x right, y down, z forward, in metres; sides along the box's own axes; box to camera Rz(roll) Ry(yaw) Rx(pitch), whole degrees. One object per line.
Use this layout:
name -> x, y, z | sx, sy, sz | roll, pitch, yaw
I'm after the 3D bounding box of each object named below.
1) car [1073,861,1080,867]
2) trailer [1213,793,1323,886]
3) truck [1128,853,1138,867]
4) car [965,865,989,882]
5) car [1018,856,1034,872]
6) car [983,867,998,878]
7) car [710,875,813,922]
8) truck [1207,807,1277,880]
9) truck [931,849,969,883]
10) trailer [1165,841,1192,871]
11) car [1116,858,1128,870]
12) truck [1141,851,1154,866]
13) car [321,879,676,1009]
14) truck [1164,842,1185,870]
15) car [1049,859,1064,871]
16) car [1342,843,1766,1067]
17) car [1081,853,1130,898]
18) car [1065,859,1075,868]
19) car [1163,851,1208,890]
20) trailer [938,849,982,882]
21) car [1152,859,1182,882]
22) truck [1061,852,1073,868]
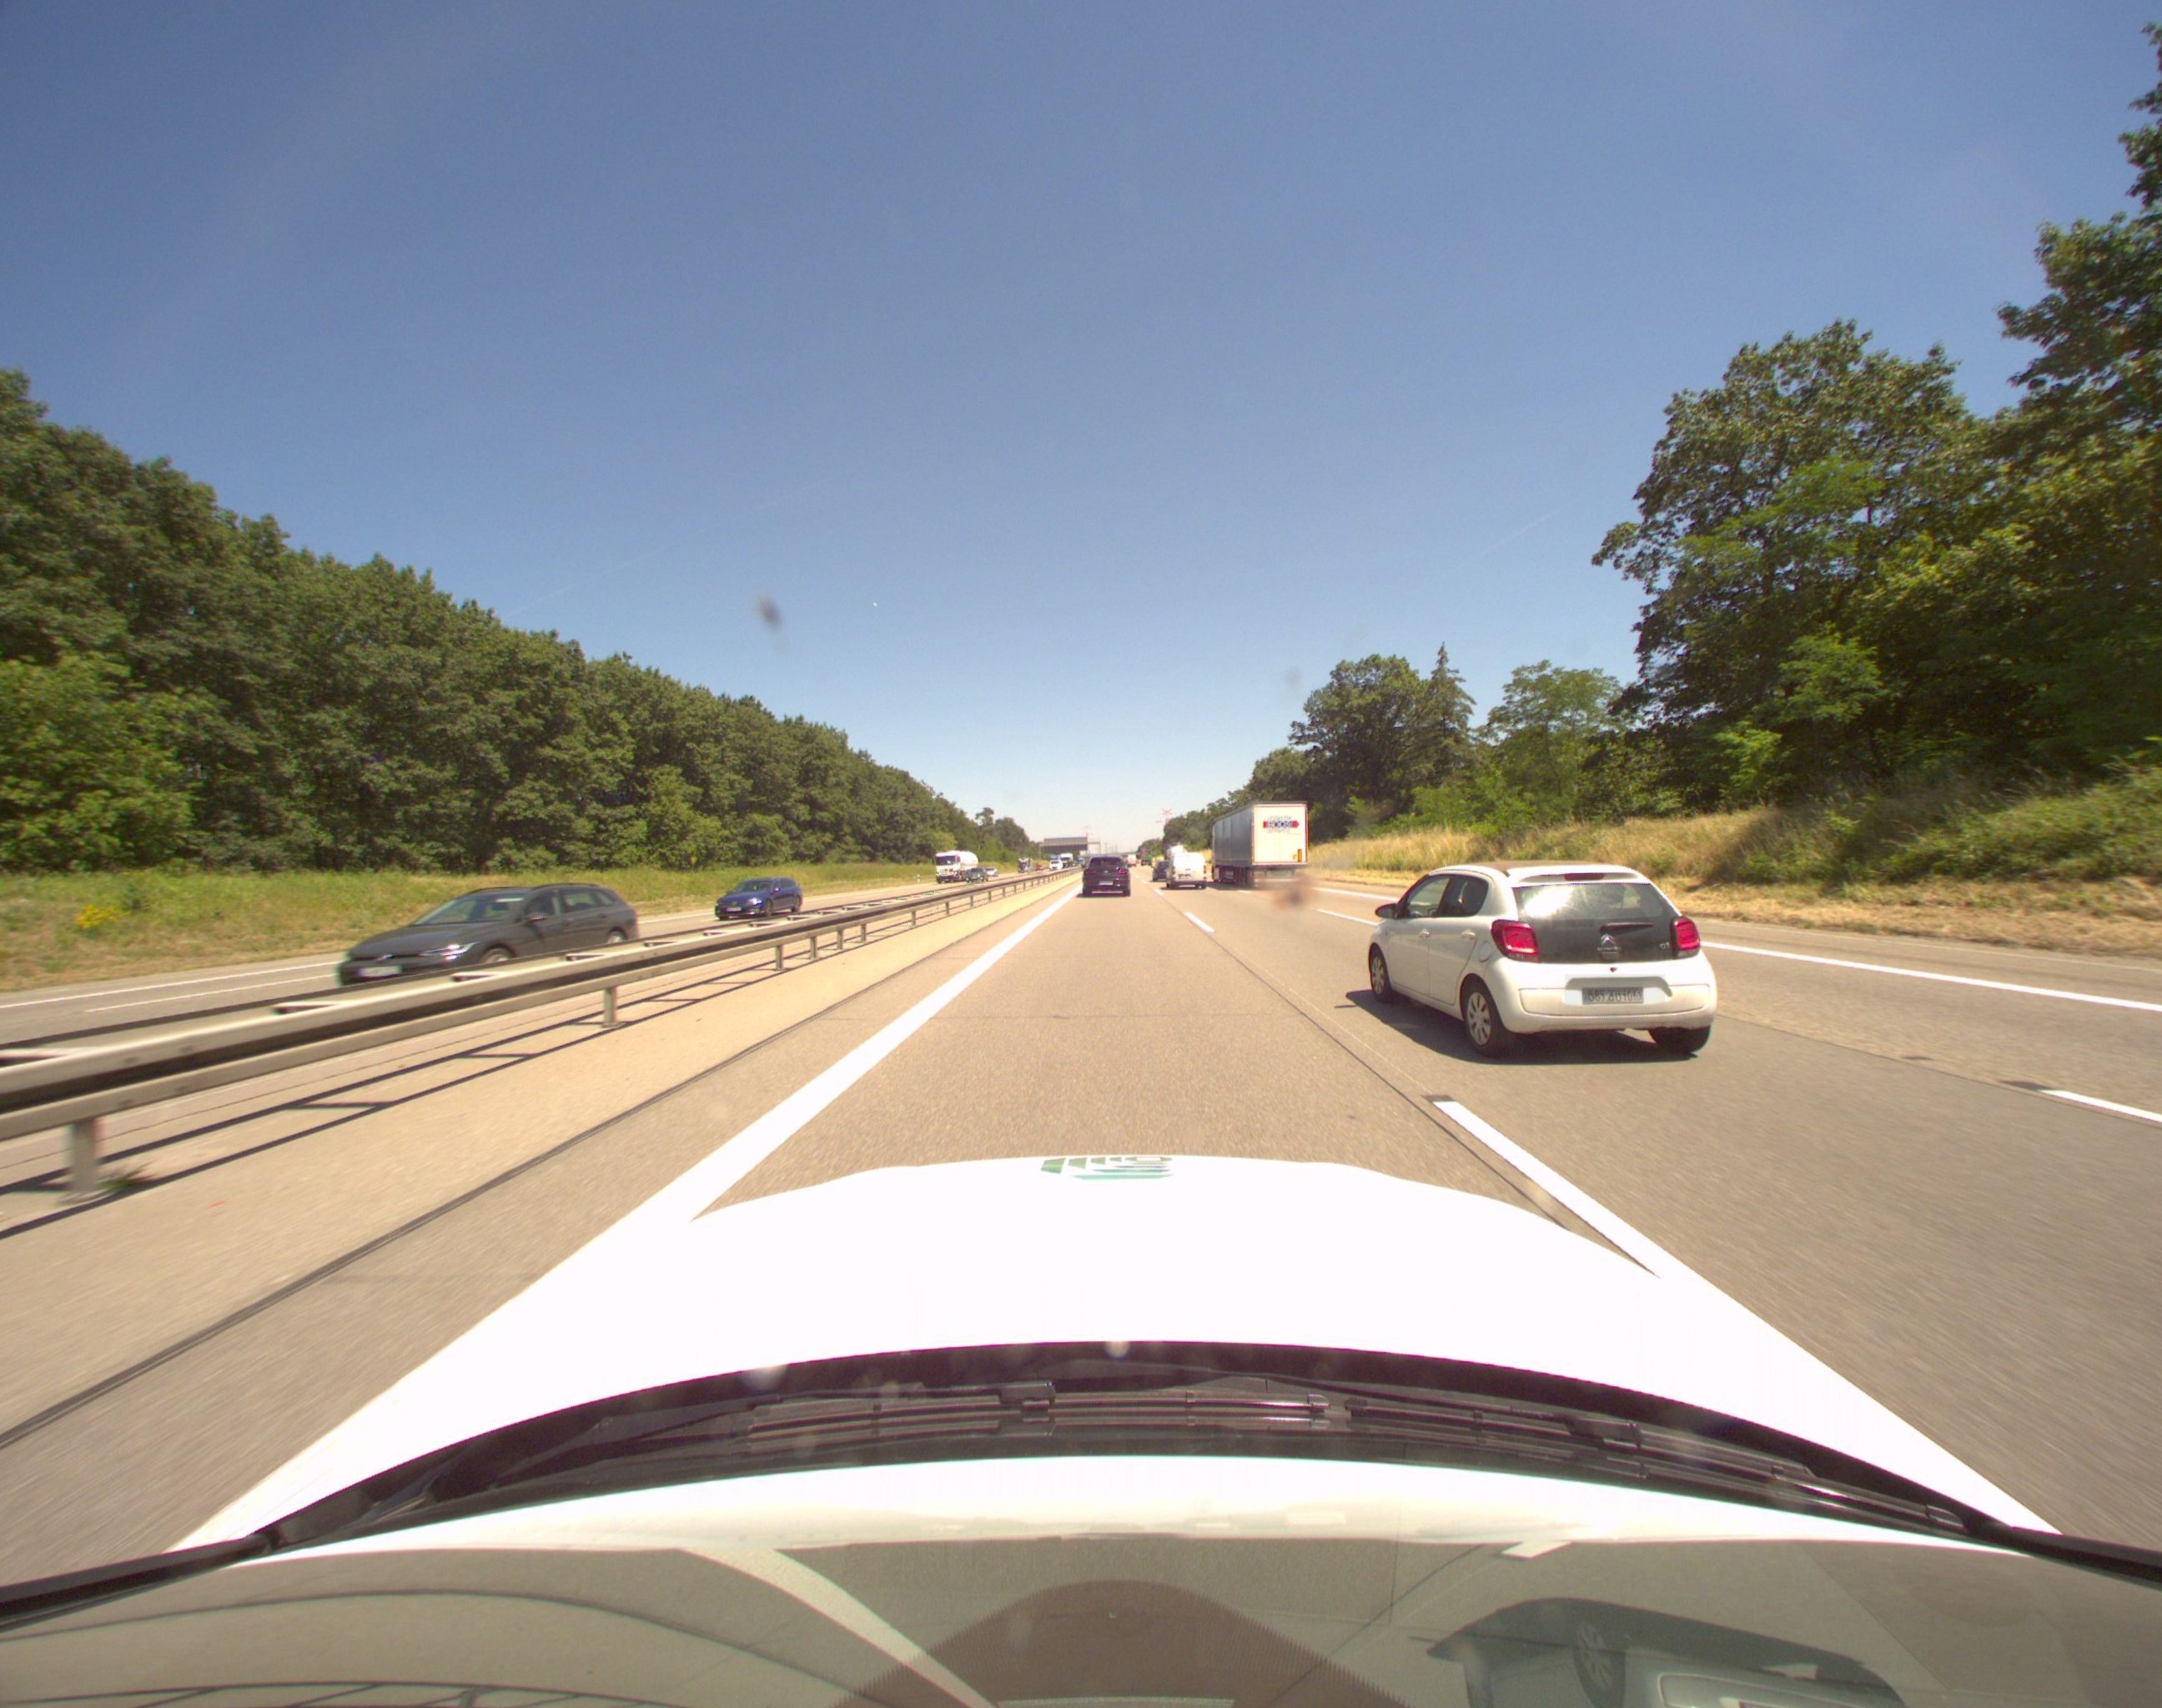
car -> -1.224, 2.714, 214.645 | 1.611, 1.482, 4.626 | -4, 0, 2
trailer -> 9.612, -0.586, 43.862 | 3.273, 4.219, 13.570 | 0, -1, 2
truck -> 11.984, 1.390, 188.784 | 2.052, 2.914, 7.006 | -2, -1, 2
car -> -10.079, 1.861, 79.028 | 1.626, 1.473, 3.939 | -4, 0, 2
car -> -10.467, 1.947, 155.220 | 2.205, 2.858, 6.456 | -4, -1, 2
car -> -13.049, 2.649, 117.248 | 1.563, 1.465, 4.037 | -4, 0, 1
car -> -12.130, 1.651, 31.352 | 1.668, 1.443, 5.138 | -4, 0, 2
truck -> 9.860, -0.562, 50.496 | 3.273, 4.219, 6.010 | 0, -1, 2
truck -> -13.991, 1.253, 87.596 | 2.672, 3.434, 6.148 | -4, -1, 2
trailer -> 13.036, 0.280, 109.966 | 2.672, 3.837, 12.015 | 0, -1, 2
car -> 6.116, 1.481, 121.561 | 1.620, 1.755, 3.807 | -1, 0, 2
truck -> 17.391, 1.150, 214.344 | 2.977, 3.729, 10.093 | 0, -1, 2
car -> -8.668, 1.218, 12.882 | 1.702, 1.410, 5.086 | -4, -1, 2
truck -> 13.242, 0.331, 115.651 | 2.672, 3.837, 4.446 | 0, -1, 2
car -> -4.122, 1.834, 138.237 | 1.988, 1.947, 5.744 | -4, 0, 1
car -> 3.854, 0.698, 7.543 | 1.701, 1.495, 4.026 | -1, 0, 2
car -> 1.080, 0.868, 35.526 | 1.933, 1.752, 5.815 | -1, 0, 2
car -> -2.436, 2.051, 182.346 | 1.869, 1.847, 5.837 | -4, -1, 2
car -> 5.323, 0.818, 42.107 | 1.807, 1.827, 5.113 | -2, -1, 2
trailer -> -13.724, 1.280, 93.455 | 2.672, 3.434, 11.806 | -4, 0, 2
car -> 5.930, 1.147, 56.277 | 1.768, 1.472, 3.874 | -2, -1, 2
truck -> -3.704, 1.678, 218.566 | 2.659, 3.990, 6.343 | -4, -1, 2
